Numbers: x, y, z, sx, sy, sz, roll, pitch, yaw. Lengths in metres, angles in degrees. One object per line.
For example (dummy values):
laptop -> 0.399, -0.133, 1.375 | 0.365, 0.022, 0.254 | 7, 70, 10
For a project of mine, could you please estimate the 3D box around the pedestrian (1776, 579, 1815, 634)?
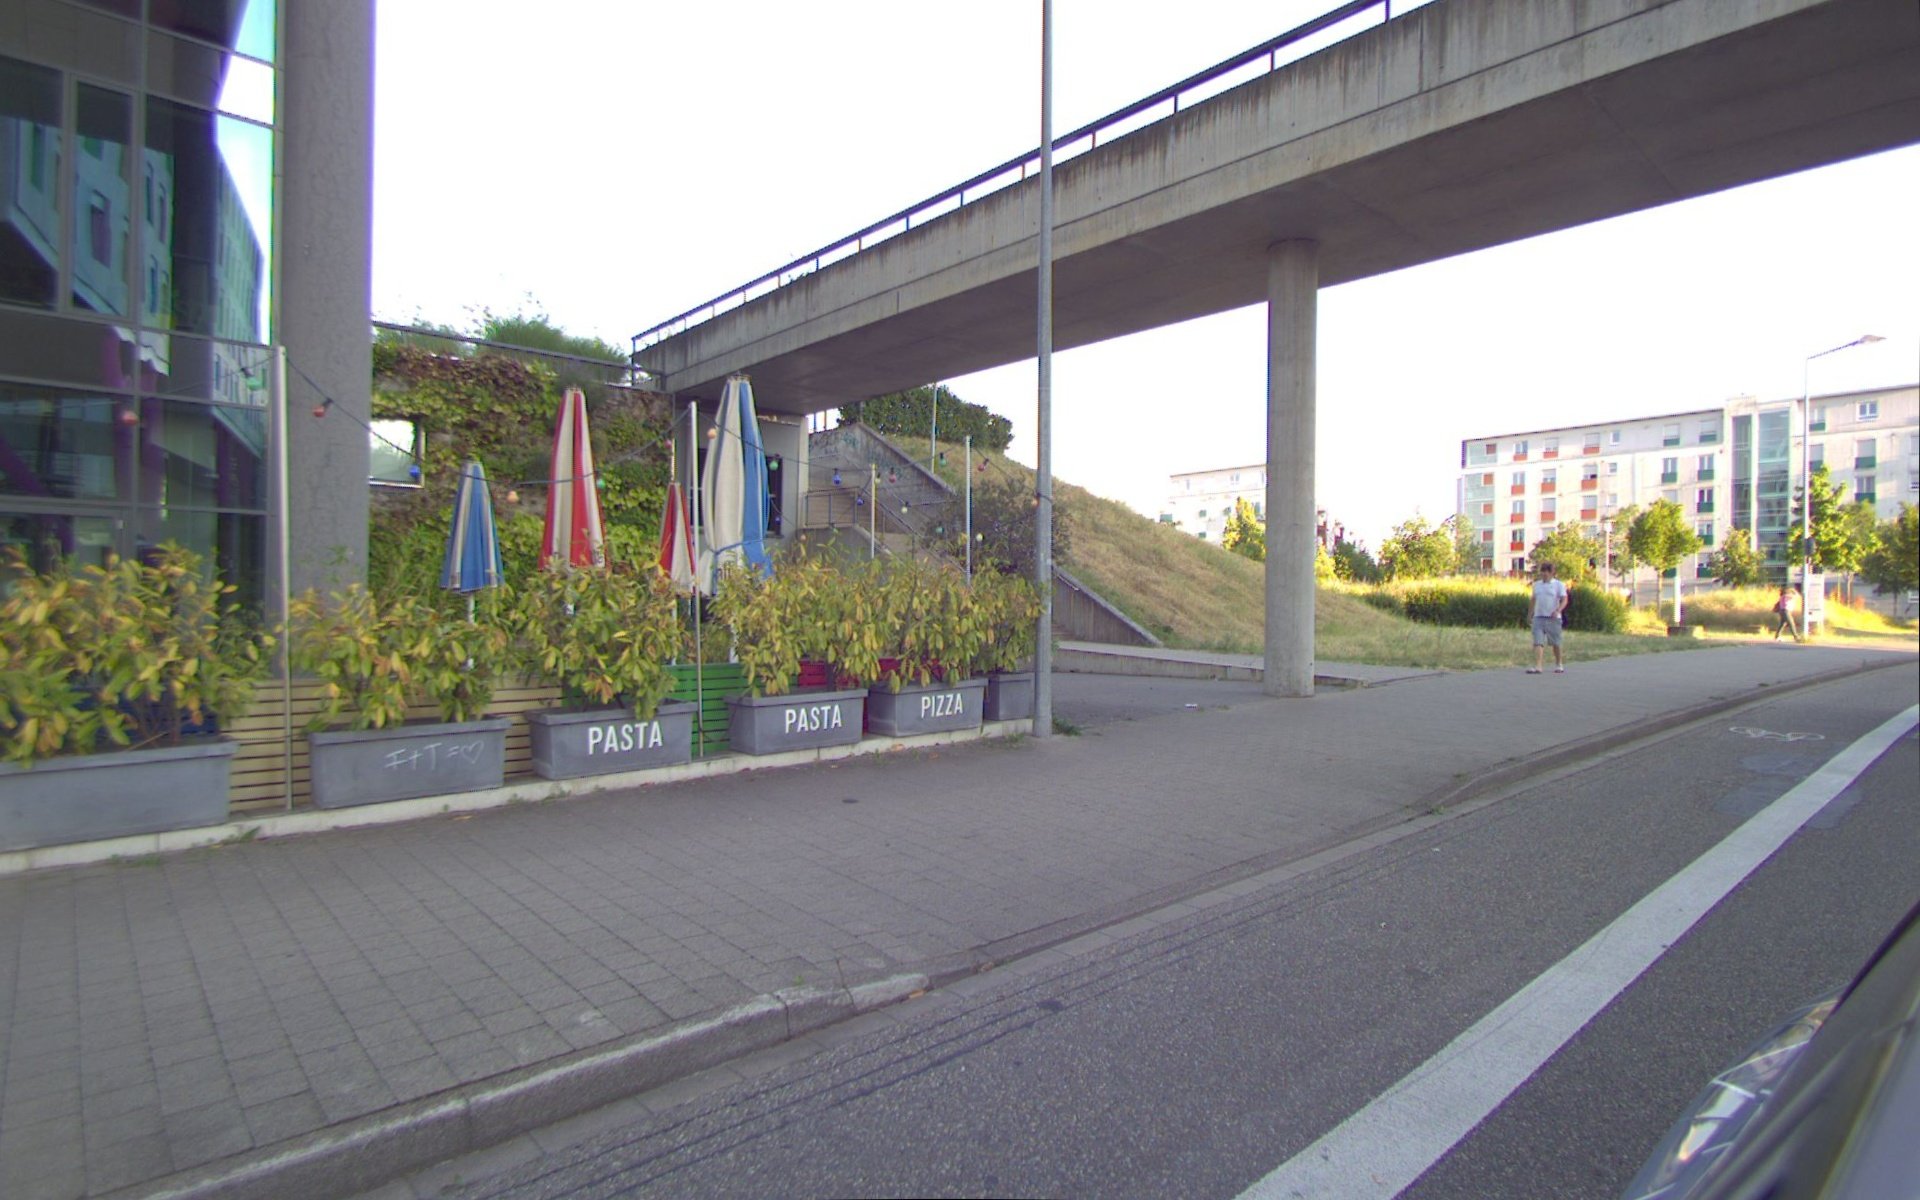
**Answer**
pedestrian -> 25.579, 0.192, 30.982 | 0.844, 1.649, 0.737 | 1, 2, -40

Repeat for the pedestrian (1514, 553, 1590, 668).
pedestrian -> 9.382, 0.145, 16.040 | 0.890, 1.745, 0.737 | 1, 2, -40
